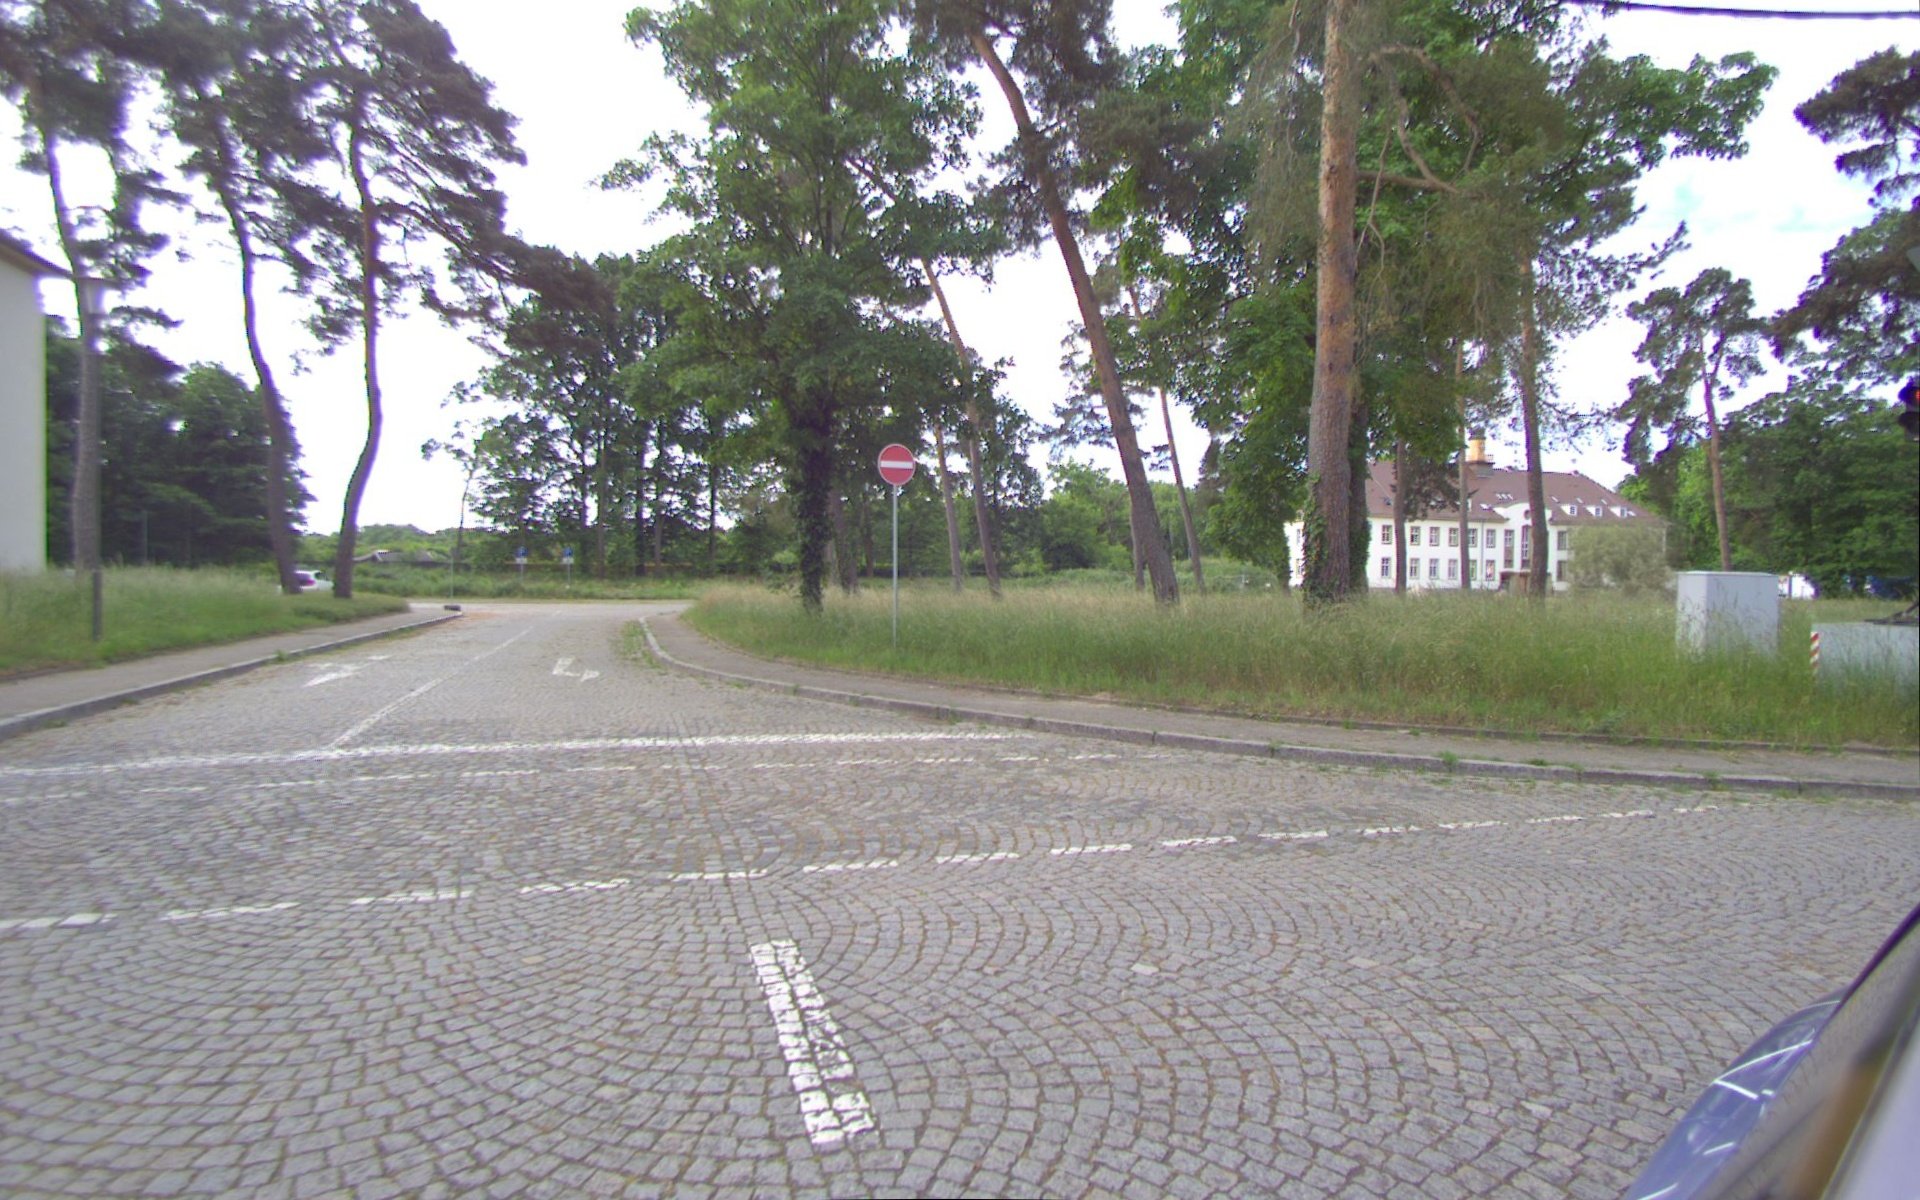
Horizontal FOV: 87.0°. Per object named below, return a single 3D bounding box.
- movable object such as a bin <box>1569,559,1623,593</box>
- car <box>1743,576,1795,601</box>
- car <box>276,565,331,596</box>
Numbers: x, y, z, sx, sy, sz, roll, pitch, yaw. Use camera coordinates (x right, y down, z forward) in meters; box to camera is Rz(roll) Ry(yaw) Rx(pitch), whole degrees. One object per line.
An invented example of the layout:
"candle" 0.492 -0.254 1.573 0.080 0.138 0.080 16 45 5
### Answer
"movable object such as a bin" 74.030 -2.751 117.936 2.010 3.817 5.475 0 1 -14
"car" 78.280 -1.153 97.931 4.354 2.394 1.867 0 0 -18
"car" -32.070 -0.928 49.525 1.457 1.455 3.202 0 1 -17
